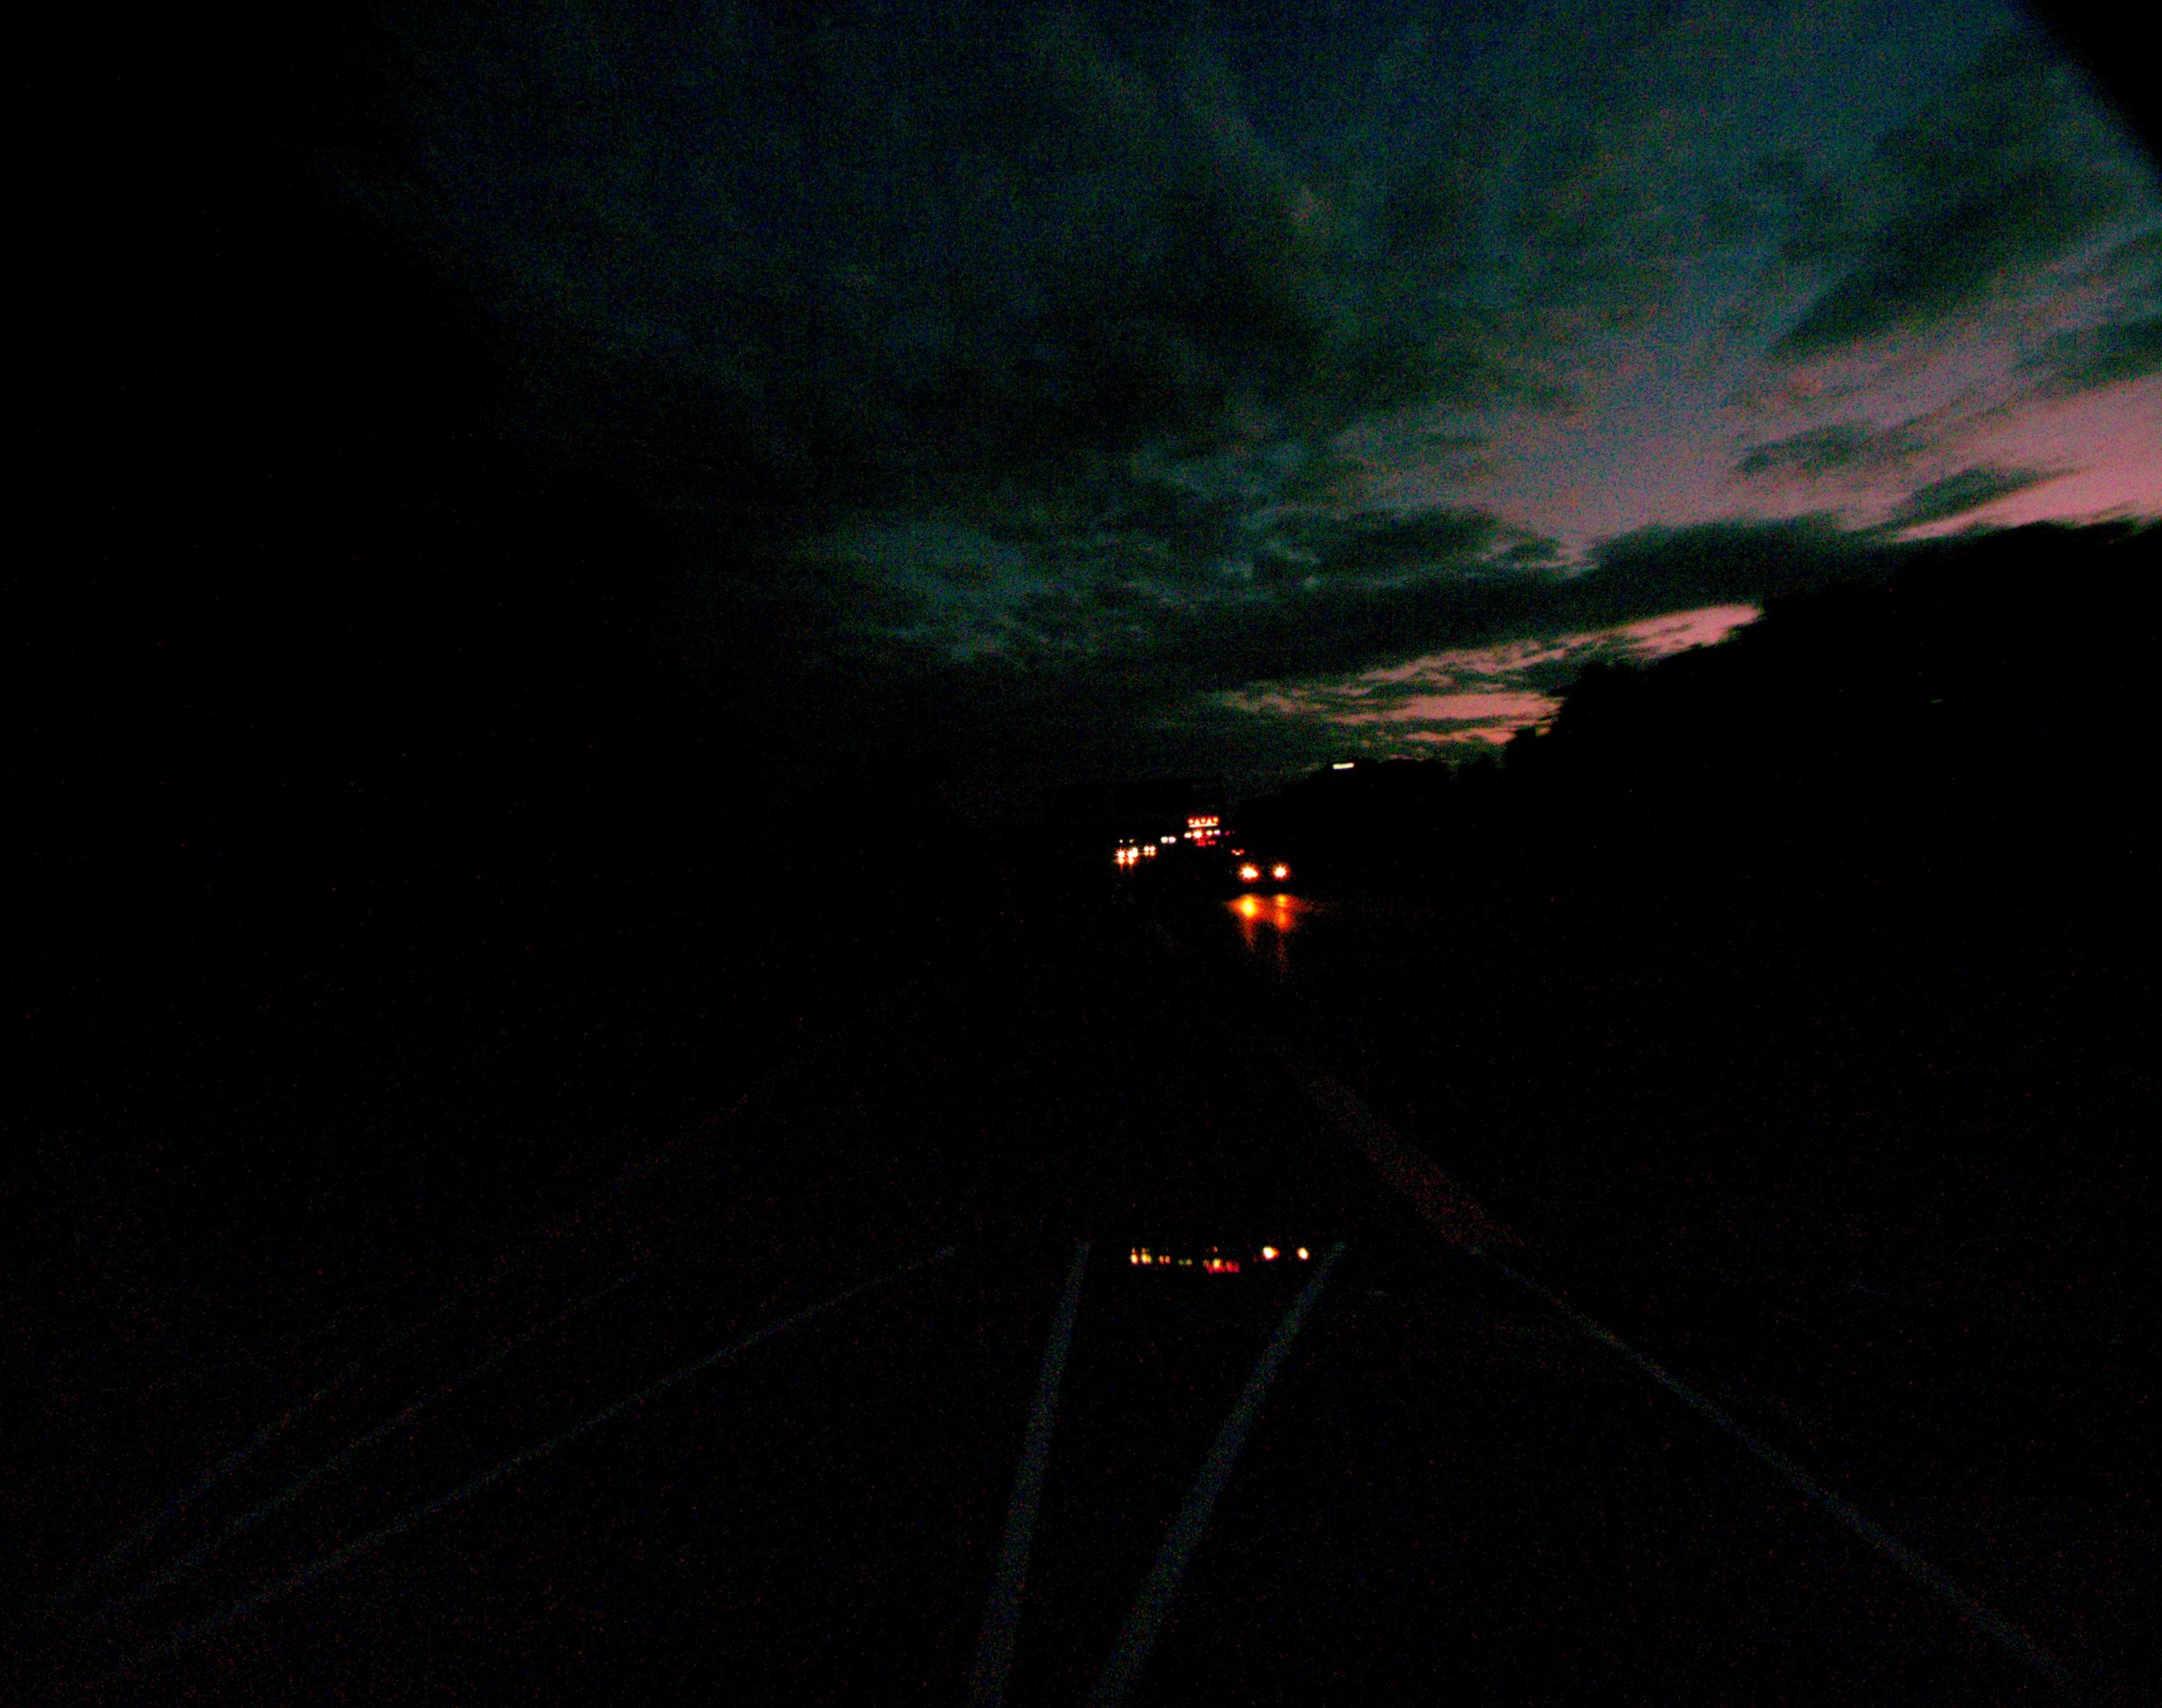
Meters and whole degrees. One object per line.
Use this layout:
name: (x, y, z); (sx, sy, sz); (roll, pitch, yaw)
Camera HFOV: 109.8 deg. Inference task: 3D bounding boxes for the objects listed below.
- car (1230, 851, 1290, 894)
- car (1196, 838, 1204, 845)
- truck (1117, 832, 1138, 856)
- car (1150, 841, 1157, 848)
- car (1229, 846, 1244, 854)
car: (7.331, 0.709, 31.446); (1.717, 1.471, 3.999); (-2, 2, 4)
car: (40.035, -4.203, 255.228); (1.998, 1.883, 4.678); (-2, 2, 3)
truck: (9.354, -2.099, 151.062); (3.025, 4.373, 11.617); (-2, 2, 8)
car: (19.603, -2.524, 204.761); (1.653, 1.655, 3.774); (-2, 2, 2)
car: (27.917, -0.765, 136.796); (1.998, 1.411, 4.152); (-2, 1, 3)
